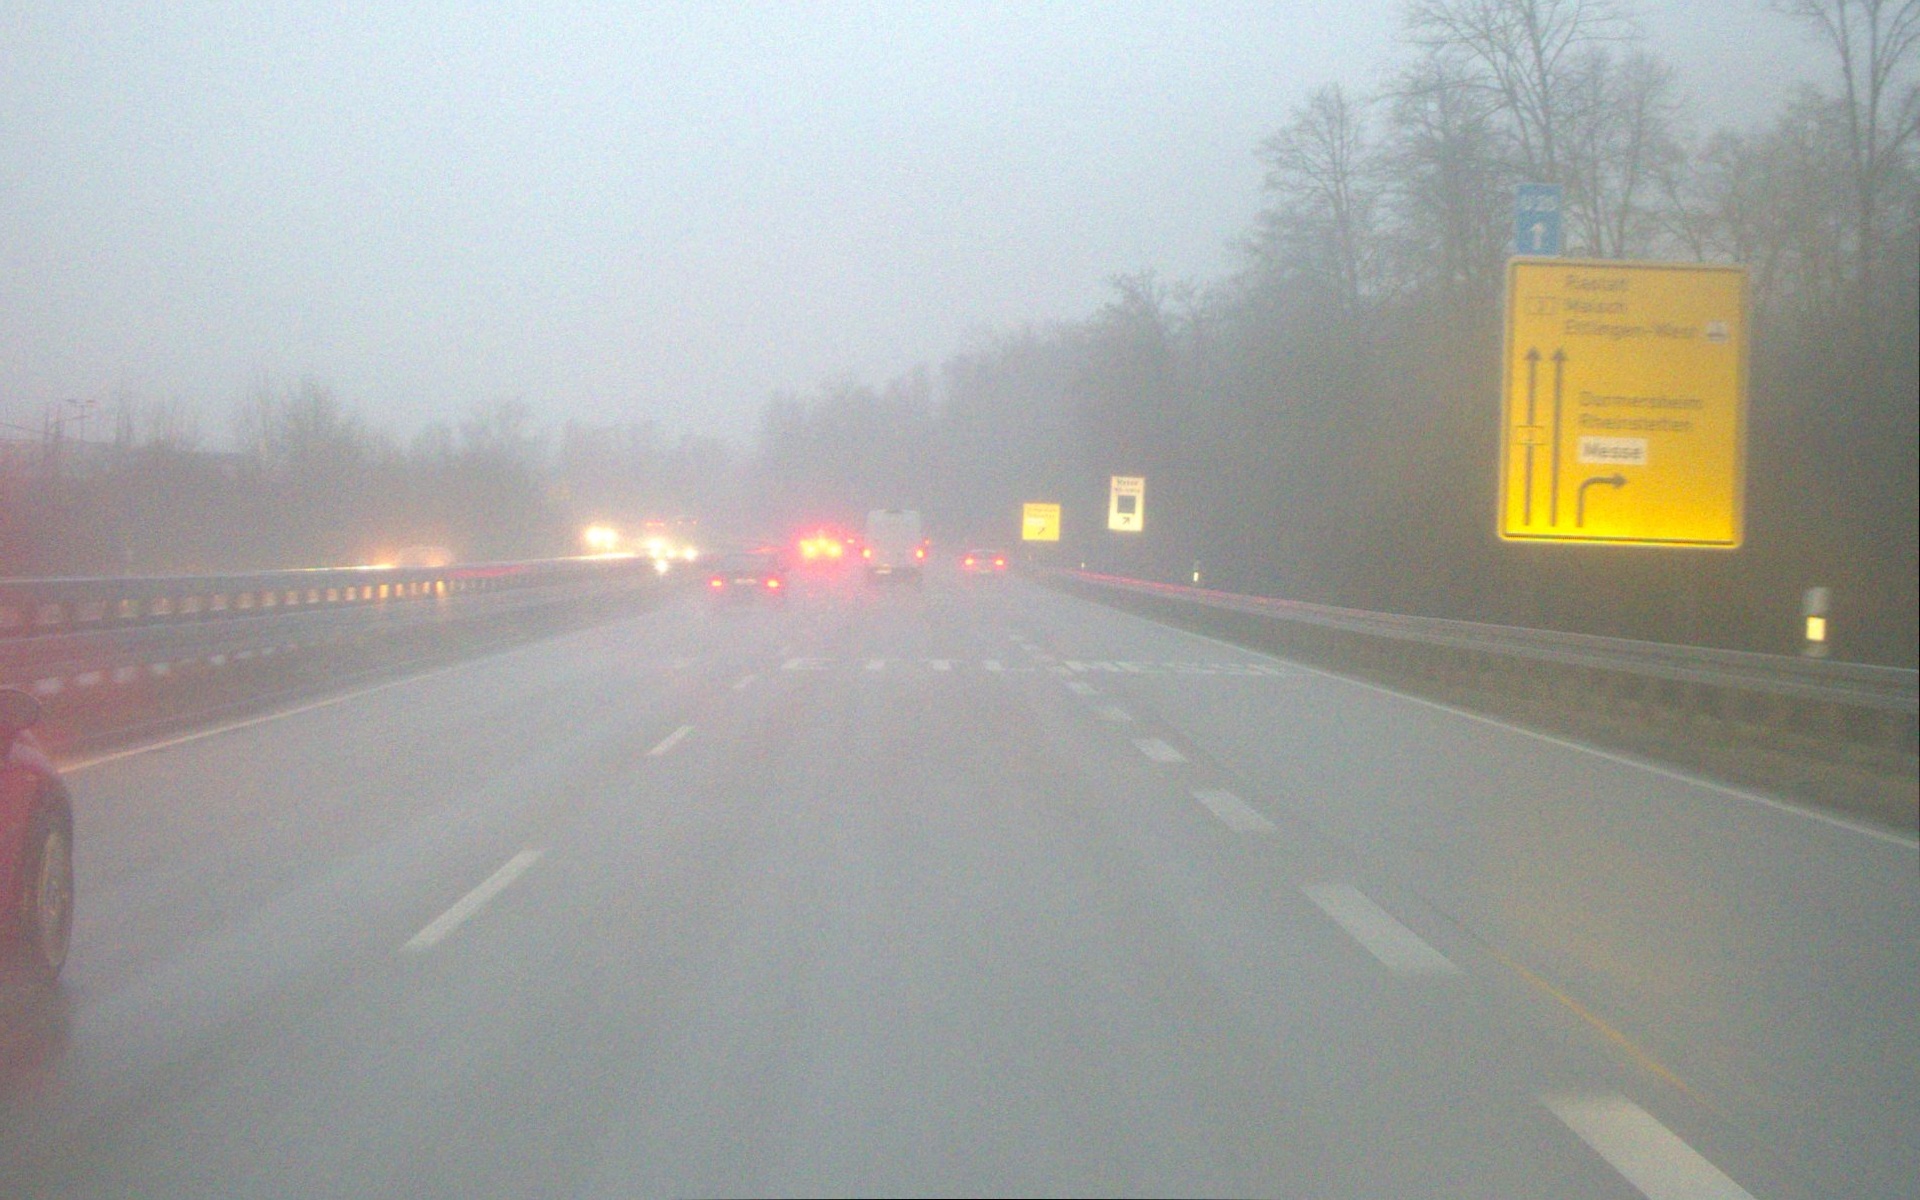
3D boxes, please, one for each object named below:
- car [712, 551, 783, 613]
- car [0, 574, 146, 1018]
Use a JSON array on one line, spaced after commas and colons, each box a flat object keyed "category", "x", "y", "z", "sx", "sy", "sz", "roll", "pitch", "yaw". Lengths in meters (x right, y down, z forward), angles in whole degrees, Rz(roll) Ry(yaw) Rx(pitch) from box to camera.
[{"category": "car", "x": -4.761, "y": -0.415, "z": 77.298, "sx": 1.416, "sy": 1.312, "sz": 3.083, "roll": 2, "pitch": 1, "yaw": -1}, {"category": "car", "x": -3.838, "y": 0.607, "z": 10.920, "sx": 1.625, "sy": 1.387, "sz": 4.000, "roll": 2, "pitch": 0, "yaw": -2}]
